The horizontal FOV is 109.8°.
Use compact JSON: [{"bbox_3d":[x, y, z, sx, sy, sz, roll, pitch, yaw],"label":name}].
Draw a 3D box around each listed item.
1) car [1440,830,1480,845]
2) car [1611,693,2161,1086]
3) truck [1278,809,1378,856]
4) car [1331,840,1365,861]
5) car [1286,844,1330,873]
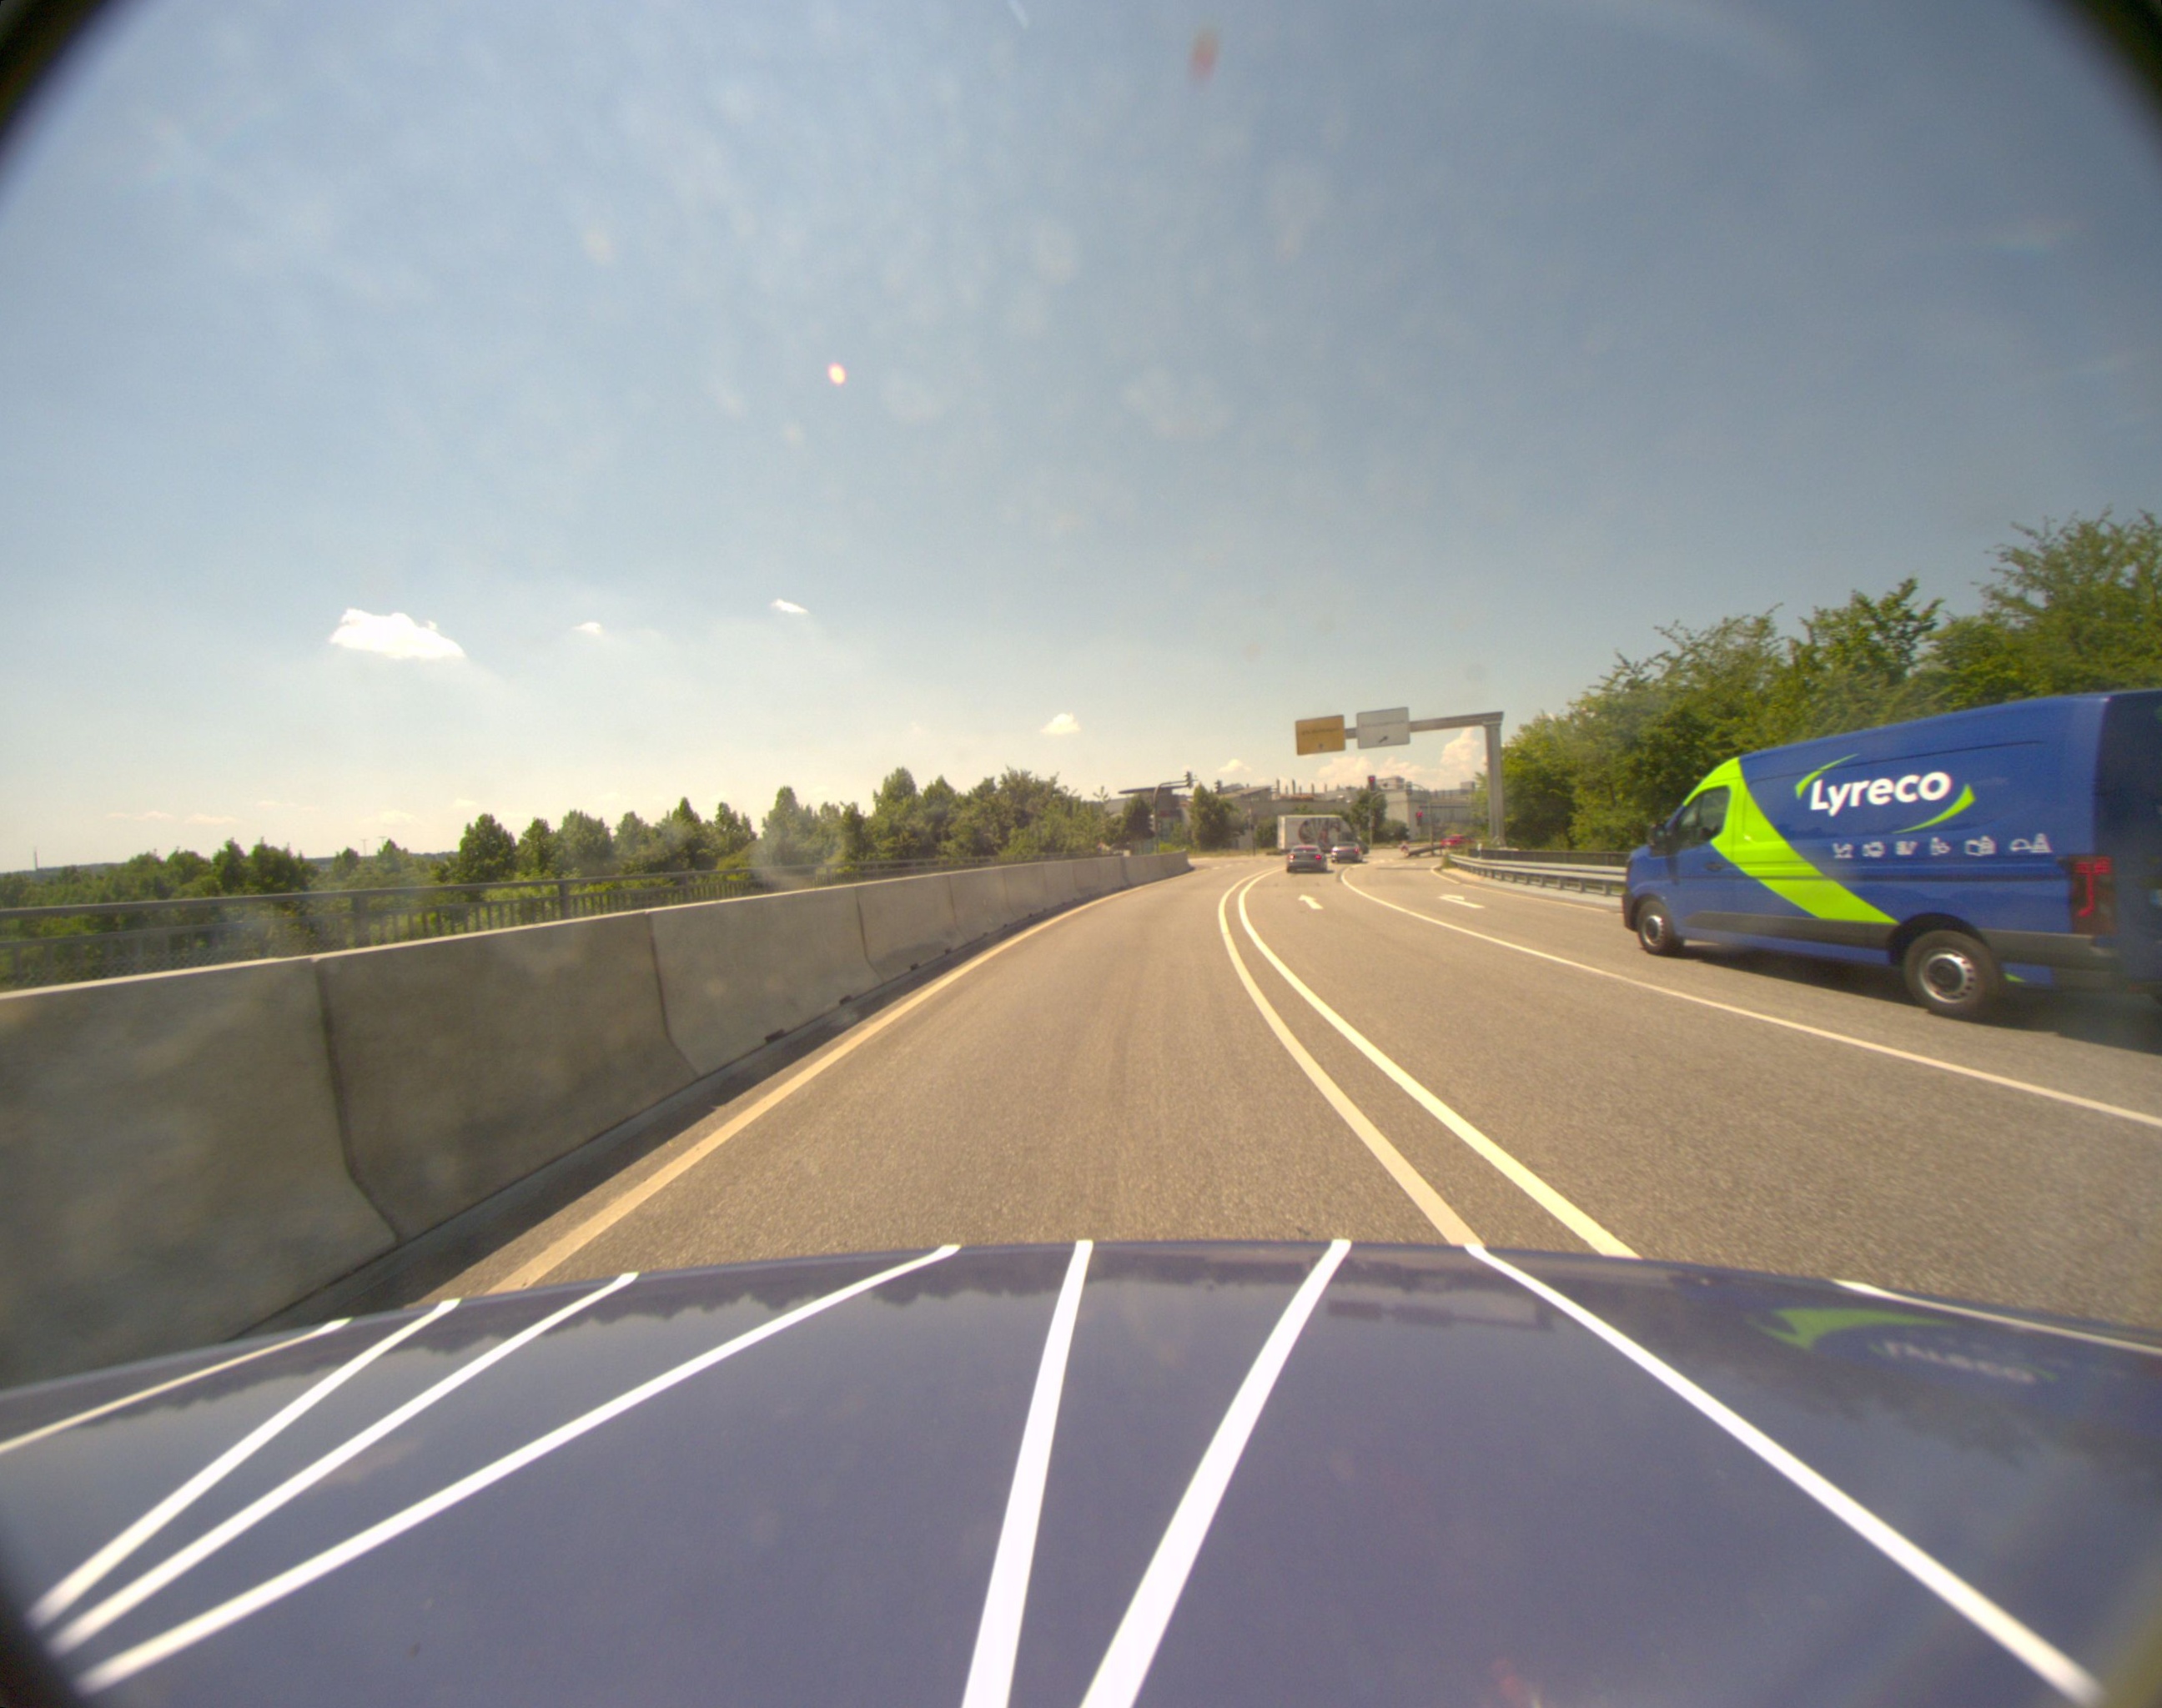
[{"bbox_3d":[37.912,-1.684,76.015,4.457,1.380,1.661,-2,2,-36],"label":"car"},{"bbox_3d":[7.898,0.165,7.413,1.998,2.470,5.482,-1,1,5],"label":"car"},{"bbox_3d":[19.765,-1.741,61.111,7.195,3.331,2.414,-3,5,4],"label":"truck"},{"bbox_3d":[17.838,-0.270,50.604,1.646,1.344,3.975,1,2,26],"label":"car"},{"bbox_3d":[11.843,0.195,39.456,1.780,1.377,4.288,0,1,22],"label":"car"}]
